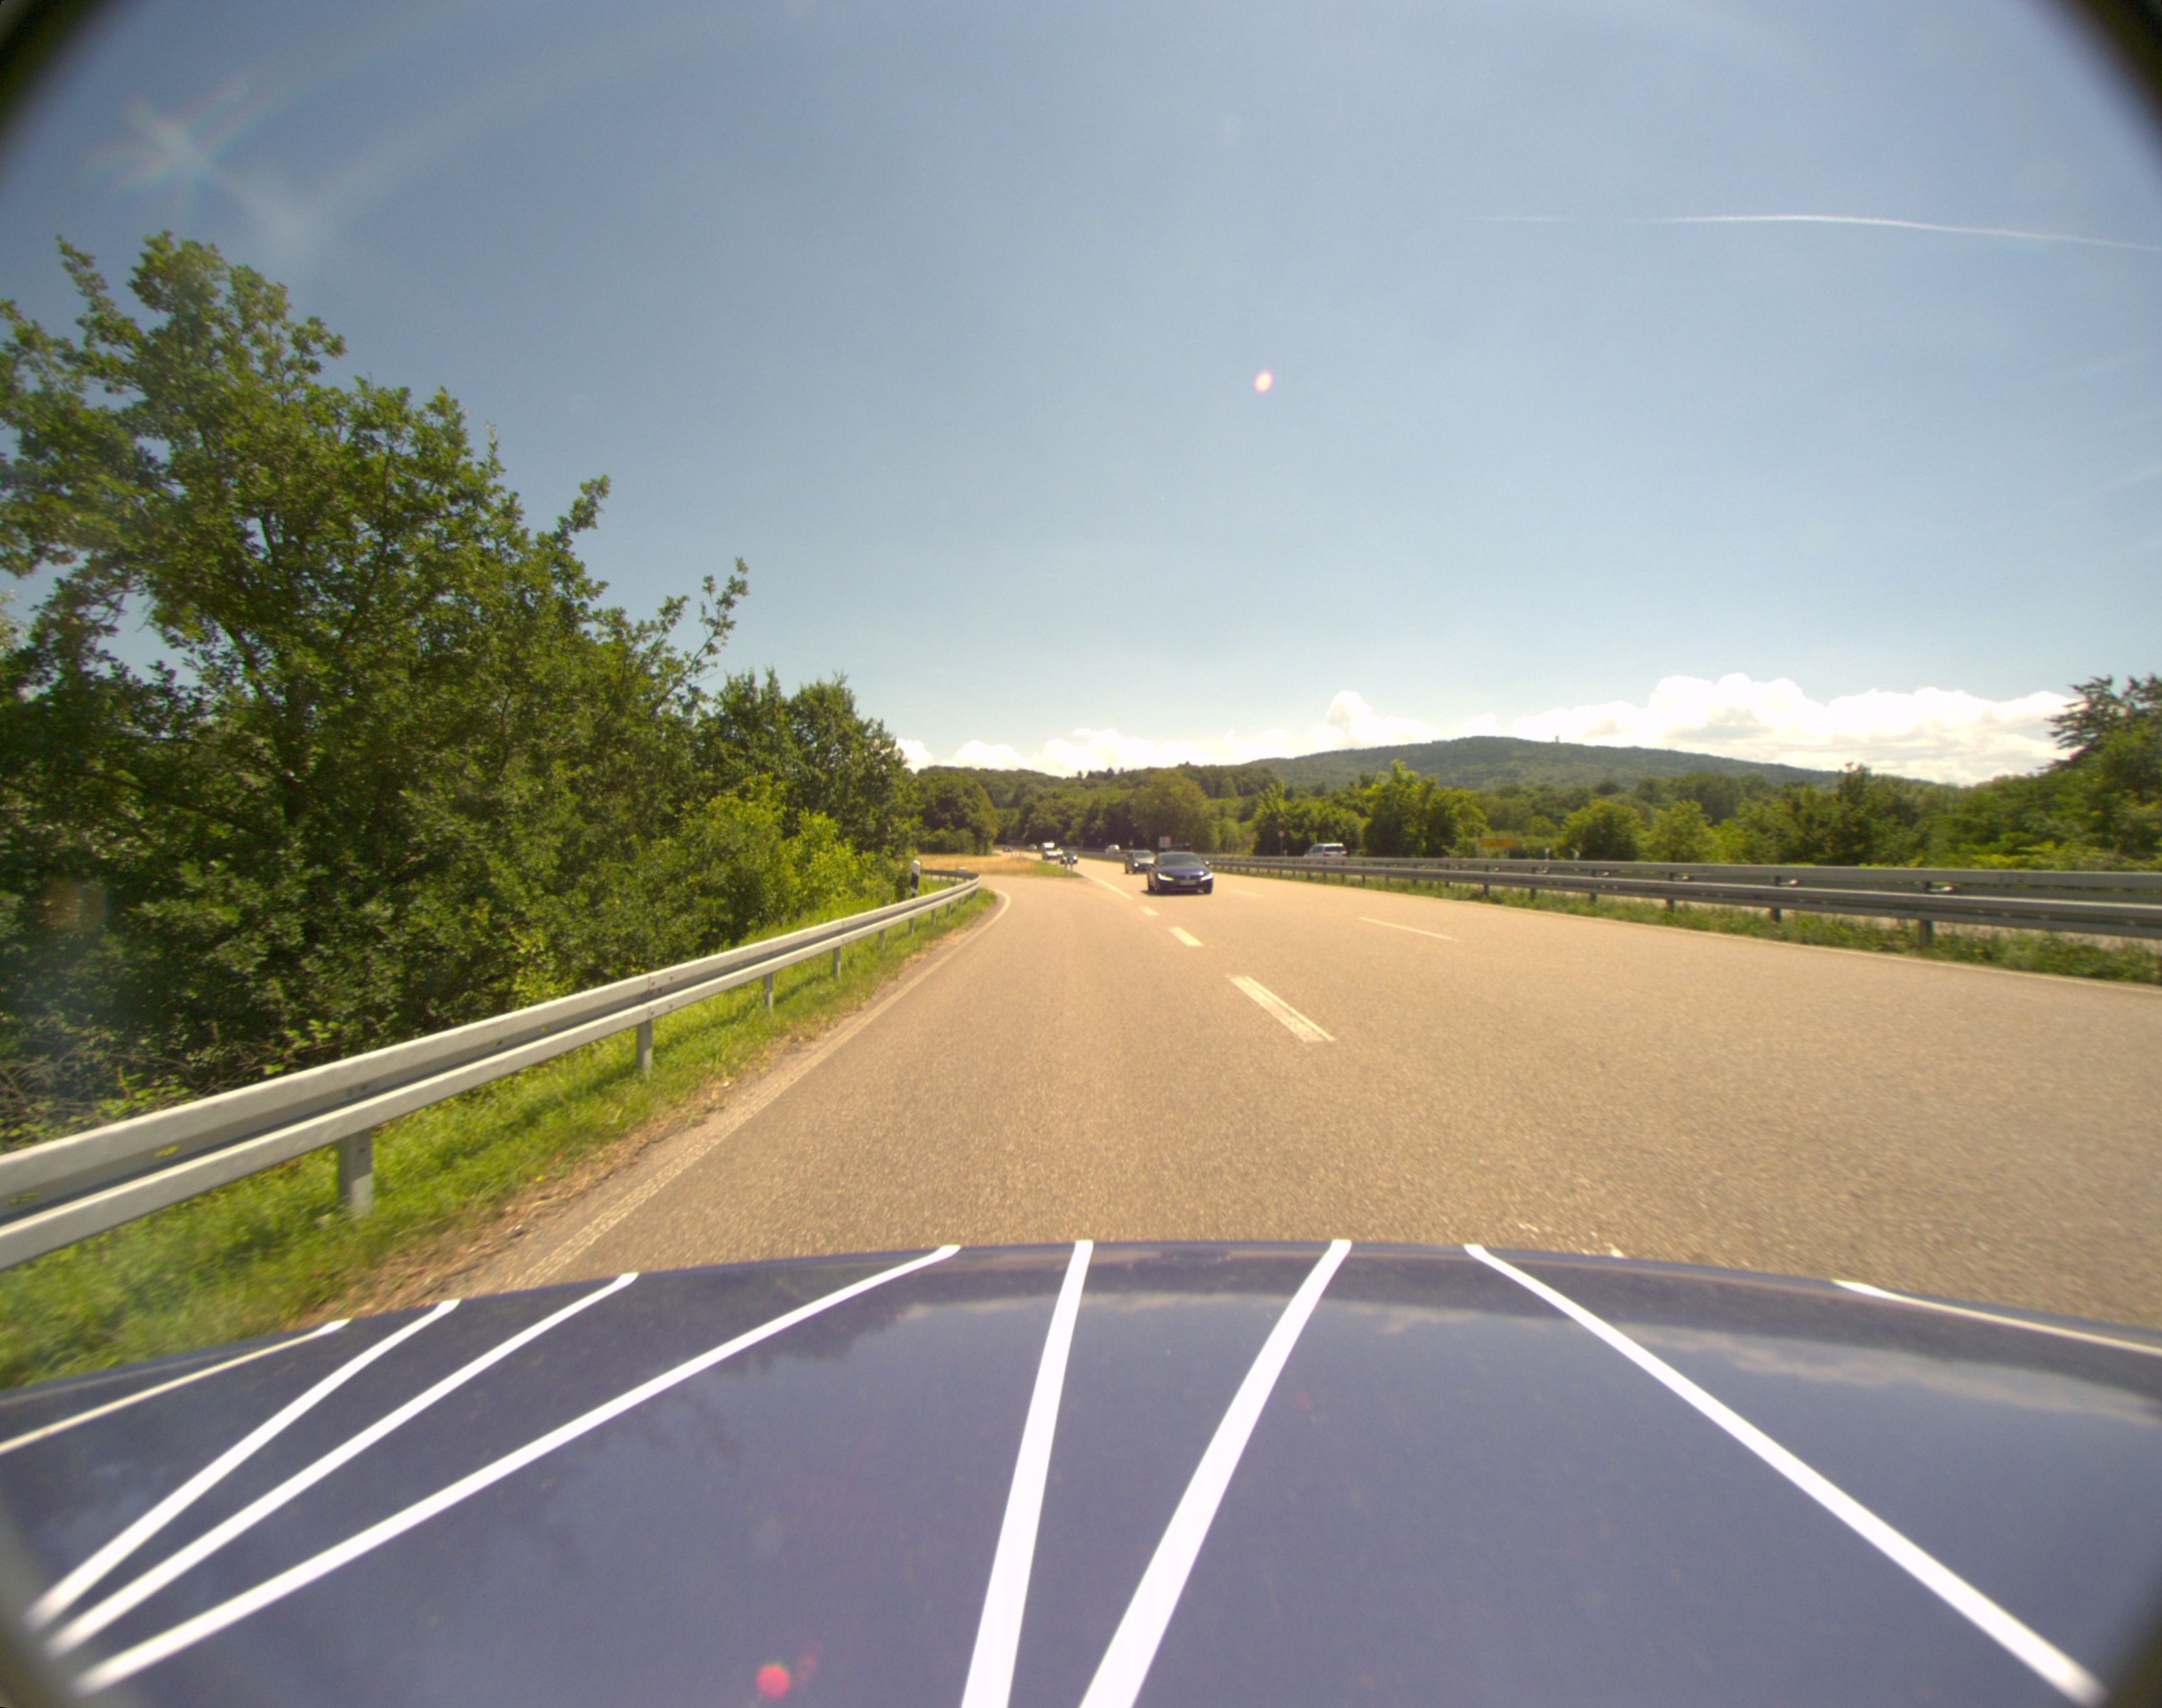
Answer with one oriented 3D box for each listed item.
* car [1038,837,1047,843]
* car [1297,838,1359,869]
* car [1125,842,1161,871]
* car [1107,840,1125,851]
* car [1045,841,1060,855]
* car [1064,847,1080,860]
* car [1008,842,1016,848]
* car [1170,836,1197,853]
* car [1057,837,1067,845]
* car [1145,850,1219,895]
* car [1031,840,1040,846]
[{"bbox_3d":[-11.534,-4.169,225.177,2.000,1.882,4.906,-1,2,-10],"label":"car"},{"bbox_3d":[16.406,-0.096,50.806,2.210,1.882,4.908,-1,2,-5],"label":"car"},{"bbox_3d":[4.158,0.220,51.706,1.798,1.657,4.555,-3,-3,-3],"label":"car"},{"bbox_3d":[6.314,-1.557,136.739,2.000,1.882,4.905,-1,2,-11],"label":"car"},{"bbox_3d":[-4.269,-0.958,113.372,2.009,1.988,4.575,-1,2,-6],"label":"car"},{"bbox_3d":[-1.104,-0.037,91.151,1.846,1.400,4.468,-1,1,-2],"label":"car"},{"bbox_3d":[-17.467,-2.275,191.407,1.876,1.594,3.996,-1,2,-5],"label":"car"},{"bbox_3d":[12.626,-1.211,93.945,2.211,1.882,4.907,-1,2,-7],"label":"car"},{"bbox_3d":[-4.997,-3.486,202.567,2.000,1.882,4.906,-1,2,-10],"label":"car"},{"bbox_3d":[3.434,0.576,26.619,1.846,1.400,4.468,-2,1,-1],"label":"car"},{"bbox_3d":[-12.826,-3.192,216.088,1.937,1.741,4.906,-1,2,-11],"label":"car"}]
